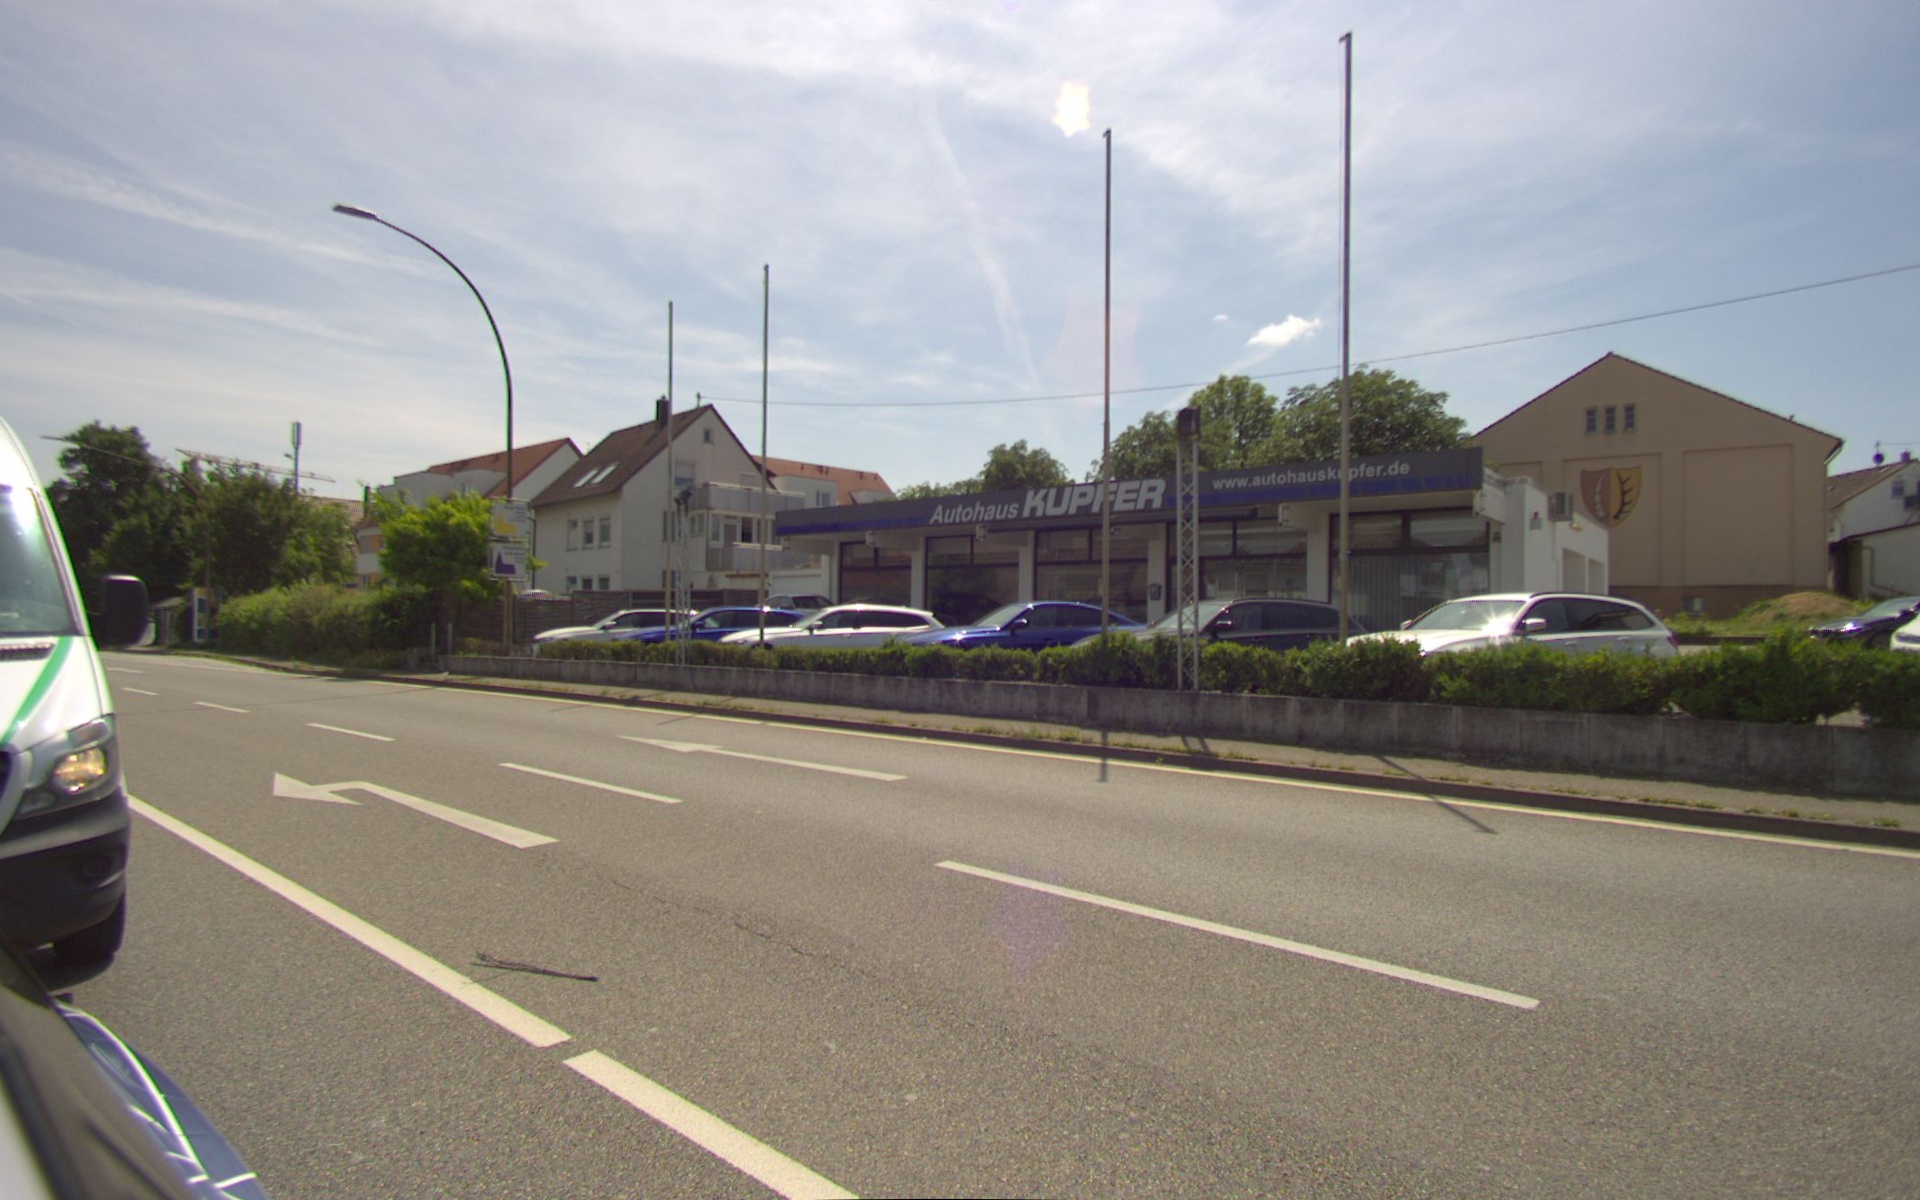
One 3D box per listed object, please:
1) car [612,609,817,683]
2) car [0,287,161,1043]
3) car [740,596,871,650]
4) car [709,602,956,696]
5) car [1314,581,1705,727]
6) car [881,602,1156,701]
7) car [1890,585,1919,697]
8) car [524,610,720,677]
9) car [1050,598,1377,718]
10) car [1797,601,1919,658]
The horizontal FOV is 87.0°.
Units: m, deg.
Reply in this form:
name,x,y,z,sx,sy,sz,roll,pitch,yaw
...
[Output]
name,x,y,z,sx,sy,sz,roll,pitch,yaw
car,-5.549,0.982,22.833,4.267,1.458,1.863,-1,0,-21
car,-5.755,0.262,4.878,5.745,2.548,1.914,-1,-1,40
car,-4.744,0.674,30.555,1.781,1.475,4.589,-1,0,-40
car,-2.515,0.882,19.816,4.438,1.458,1.863,-3,1,-19
car,6.514,0.529,11.976,4.267,1.458,1.863,-1,0,-24
car,0.990,0.789,17.209,4.267,1.458,1.863,-1,0,-23
car,14.937,0.517,14.345,3.934,1.521,1.839,-1,-1,-36
car,-8.472,1.041,25.470,4.501,1.458,1.863,-1,0,-21
car,3.628,0.720,14.469,4.267,1.458,1.905,-1,0,-24
car,23.340,0.690,24.859,3.946,1.231,1.791,-2,0,2
